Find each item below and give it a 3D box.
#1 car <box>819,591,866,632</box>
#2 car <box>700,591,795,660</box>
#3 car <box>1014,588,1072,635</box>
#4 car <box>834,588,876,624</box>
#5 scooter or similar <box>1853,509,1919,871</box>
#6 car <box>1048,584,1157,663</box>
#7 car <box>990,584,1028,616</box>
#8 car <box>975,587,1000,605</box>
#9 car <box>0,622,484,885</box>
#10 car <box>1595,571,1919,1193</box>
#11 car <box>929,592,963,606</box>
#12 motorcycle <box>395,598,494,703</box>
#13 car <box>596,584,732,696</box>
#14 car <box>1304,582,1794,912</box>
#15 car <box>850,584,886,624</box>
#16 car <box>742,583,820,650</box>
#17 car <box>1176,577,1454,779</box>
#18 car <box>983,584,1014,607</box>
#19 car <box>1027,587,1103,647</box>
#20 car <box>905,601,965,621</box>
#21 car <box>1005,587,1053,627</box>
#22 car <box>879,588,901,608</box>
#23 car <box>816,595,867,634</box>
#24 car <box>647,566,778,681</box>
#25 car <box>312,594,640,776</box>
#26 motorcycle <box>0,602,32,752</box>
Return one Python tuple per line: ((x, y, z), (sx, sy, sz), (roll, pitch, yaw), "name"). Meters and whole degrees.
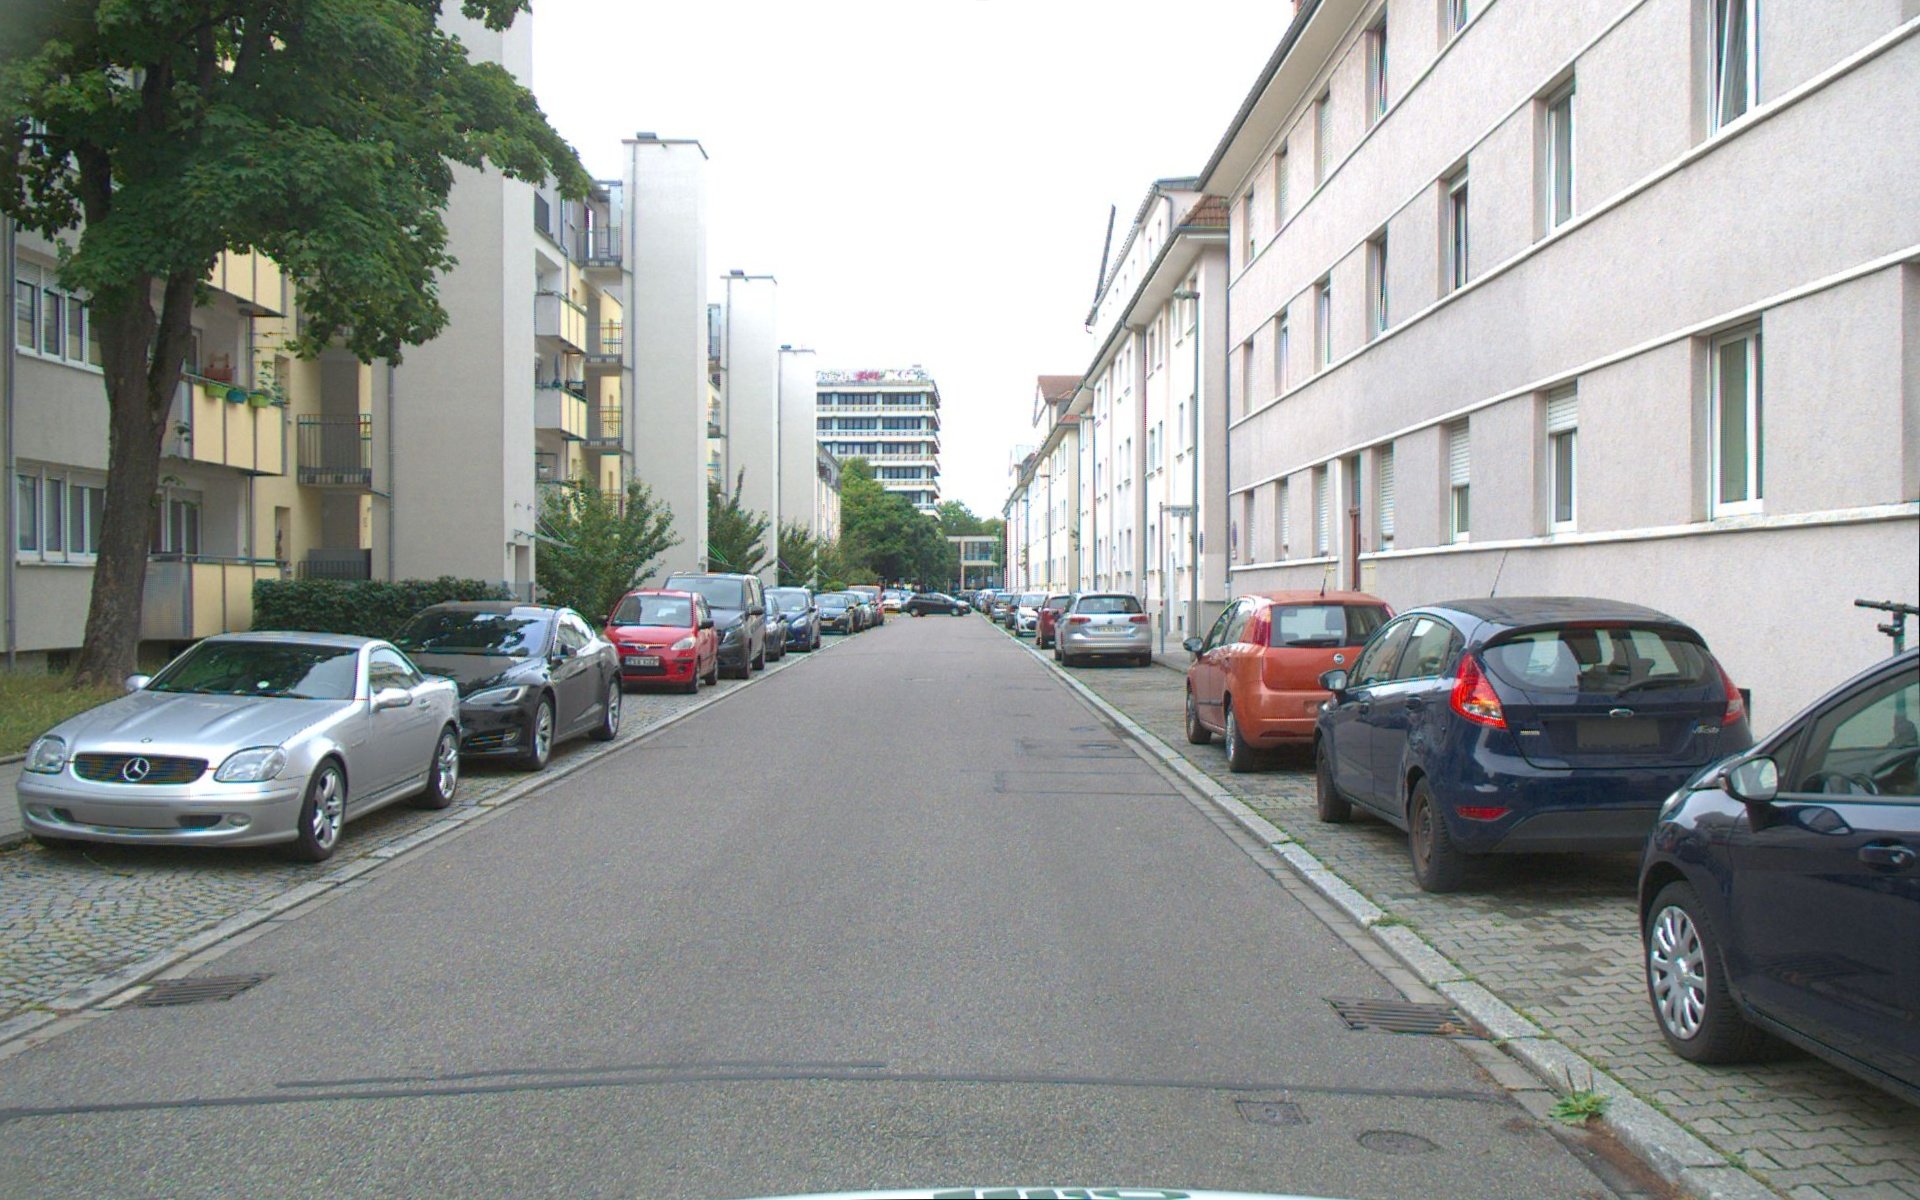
((-4.731, 0.441, 66.943), (1.637, 1.591, 3.664), (0, 1, 0), "car")
((-4.867, 0.542, 38.367), (1.793, 1.484, 4.258), (0, 1, -2), "car")
((2.787, 0.373, 56.205), (1.782, 1.531, 3.752), (0, 1, 0), "car")
((-4.644, 0.233, 73.477), (1.637, 1.552, 4.252), (0, 1, 0), "car")
((5.548, 0.509, 9.741), (0.340, 2.049, 0.675), (2, 0, 38), "scooter or similar")
((2.847, 0.433, 33.984), (1.719, 1.493, 4.599), (0, 1, -2), "car")
((2.484, -0.008, 84.915), (1.782, 1.604, 3.884), (0, 1, 0), "car")
((2.370, -0.369, 141.921), (1.953, 1.422, 3.999), (2, 1, -1), "car")
((-4.561, 0.853, 10.903), (1.662, 1.280, 4.015), (1, 1, 0), "car")
((3.086, 0.673, 4.144), (1.535, 1.504, 3.871), (-1, 1, 1), "car")
((-1.672, -0.114, 197.211), (3.905, 1.512, 2.000), (2, 0, 0), "car")
((-7.256, 0.678, 23.383), (0.663, 1.379, 2.229), (2, 0, 0), "motorcycle")
((-4.639, 0.583, 26.346), (1.531, 1.596, 3.641), (2, 1, -1), "car")
((3.126, 0.667, 9.543), (1.535, 1.499, 3.696), (-1, 0, 1), "car")
((-4.639, 0.160, 83.734), (1.637, 1.972, 3.741), (0, 1, 0), "car")
((-4.693, 0.399, 43.790), (1.734, 1.671, 4.353), (0, 1, -2), "car")
((3.062, 0.597, 15.022), (1.662, 1.552, 3.826), (-2, 1, 0), "car")
((2.599, -0.322, 112.312), (1.953, 1.422, 3.999), (2, 1, -1), "car")
((2.765, 0.421, 44.257), (1.636, 1.445, 3.999), (-2, 1, -1), "car")
((-1.547, 0.704, 104.281), (3.650, 1.235, 1.545), (0, 0, 5), "car")
((2.821, 0.255, 68.069), (1.782, 1.604, 3.752), (0, 1, 0), "car")
((-5.266, -0.134, 124.653), (1.507, 1.475, 3.741), (0, 1, 0), "car")
((-4.374, 0.512, 61.612), (1.637, 1.375, 3.816), (0, 1, 0), "car")
((-4.599, 0.380, 31.389), (1.841, 1.937, 5.029), (2, 1, -2), "car")
((-4.483, 0.699, 16.096), (1.804, 1.446, 4.629), (1, 1, 0), "car")
((-8.363, 0.653, 12.703), (0.667, 1.245, 3.067), (1, 1, 1), "motorcycle")
